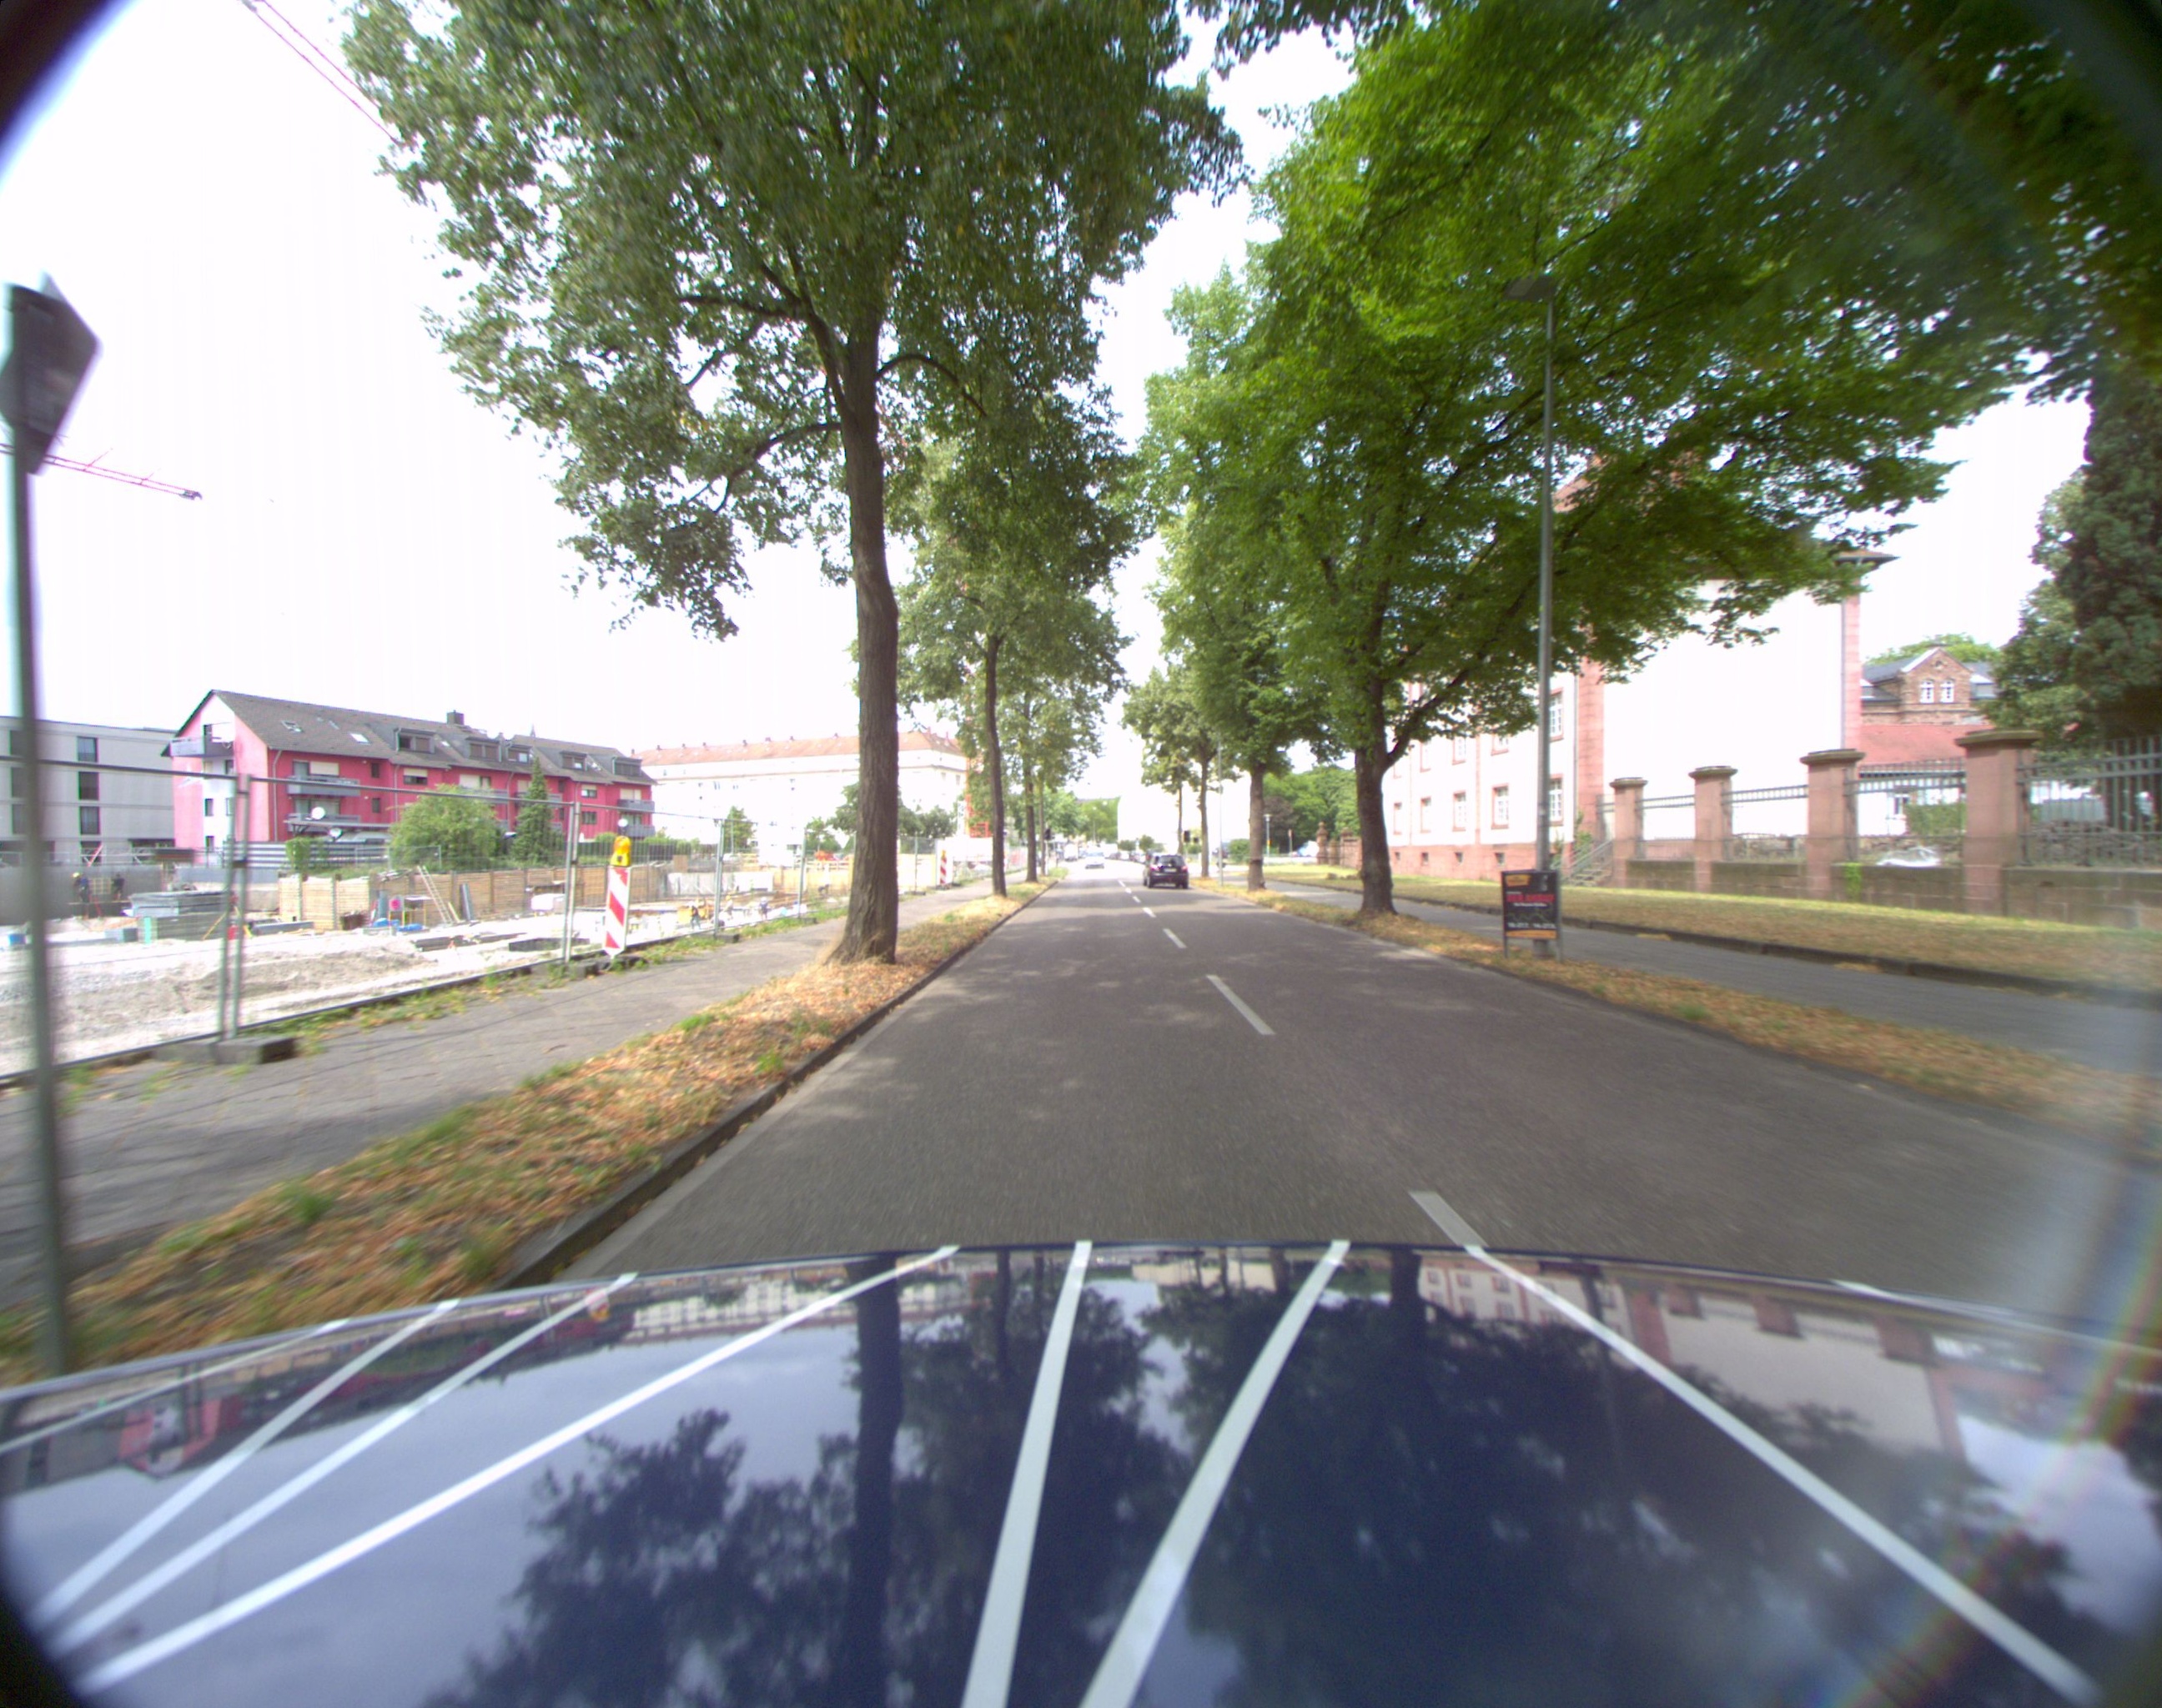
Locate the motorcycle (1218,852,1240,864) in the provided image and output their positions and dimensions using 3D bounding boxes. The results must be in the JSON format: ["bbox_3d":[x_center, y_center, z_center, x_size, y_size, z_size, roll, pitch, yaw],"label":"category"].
[{"bbox_3d":[15.241,0.398,78.168,2.095,1.135,0.725,1,1,5],"label":"motorcycle"}]

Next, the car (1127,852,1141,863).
[{"bbox_3d":[7.940,0.492,114.146,1.626,1.566,3.998,-1,1,-4],"label":"car"}]

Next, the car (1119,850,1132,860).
[{"bbox_3d":[7.340,0.106,124.919,1.791,1.554,4.550,-3,0,-1],"label":"car"}]

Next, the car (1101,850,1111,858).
[{"bbox_3d":[5.420,0.021,166.408,1.853,1.623,4.217,1,1,-2],"label":"car"}]

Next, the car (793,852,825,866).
[{"bbox_3d":[-36.219,0.648,101.413,1.796,1.580,3.924,-3,1,21],"label":"car"}]

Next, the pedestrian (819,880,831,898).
[{"bbox_3d":[-24.644,3.362,73.078,0.842,1.712,0.722,2,1,38],"label":"pedestrian"}]

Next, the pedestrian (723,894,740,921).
[{"bbox_3d":[-22.658,3.463,49.285,0.842,1.712,0.722,2,2,43],"label":"pedestrian"}]

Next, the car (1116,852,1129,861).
[{"bbox_3d":[7.178,0.434,130.690,1.722,1.615,3.838,-1,1,-4],"label":"car"}]

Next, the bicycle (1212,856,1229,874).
[{"bbox_3d":[9.179,0.718,50.031,0.724,1.089,2.151,-4,0,1],"label":"bicycle"}]

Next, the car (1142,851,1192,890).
[{"bbox_3d":[3.896,0.723,35.021,1.776,1.649,4.256,1,0,0],"label":"car"}]

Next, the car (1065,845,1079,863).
[{"bbox_3d":[-1.474,-0.018,120.919,1.900,2.587,4.903,-3,1,-2],"label":"car"}]

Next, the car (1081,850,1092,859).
[{"bbox_3d":[1.026,0.176,147.732,1.949,1.656,3.998,1,1,-2],"label":"car"}]

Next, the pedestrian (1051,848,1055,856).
[{"bbox_3d":[-5.925,-0.403,161.830,0.808,1.793,0.763,1,1,-2],"label":"pedestrian"}]

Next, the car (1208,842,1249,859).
[{"bbox_3d":[19.565,-0.435,100.789,5.097,2.137,2.229,0,0,3],"label":"car"}]

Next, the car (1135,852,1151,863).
[{"bbox_3d":[8.387,0.407,102.738,1.692,1.448,4.262,-1,0,-2],"label":"car"}]

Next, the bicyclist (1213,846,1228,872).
[{"bbox_3d":[9.150,0.310,49.925,0.724,1.646,0.958,-4,0,1],"label":"bicyclist"}]

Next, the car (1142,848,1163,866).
[{"bbox_3d":[8.595,0.373,91.602,1.953,1.992,4.843,-2,0,0],"label":"car"}]

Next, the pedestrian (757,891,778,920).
[{"bbox_3d":[-20.079,3.292,48.644,0.842,1.712,0.986,2,2,43],"label":"pedestrian"}]

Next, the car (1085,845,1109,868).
[{"bbox_3d":[1.452,0.225,71.008,1.999,2.002,3.998,1,1,-2],"label":"car"}]

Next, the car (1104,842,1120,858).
[{"bbox_3d":[6.216,-0.778,154.380,2.622,3.040,7.112,1,0,-2],"label":"car"}]

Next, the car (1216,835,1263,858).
[{"bbox_3d":[19.864,-0.946,95.331,5.323,2.537,2.355,-3,1,2],"label":"car"}]

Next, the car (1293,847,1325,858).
[{"bbox_3d":[32.328,-0.270,107.678,3.997,1.474,1.857,-1,1,0],"label":"car"}]

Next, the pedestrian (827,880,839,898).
[{"bbox_3d":[-24.051,3.390,73.740,0.842,1.712,0.722,2,1,38],"label":"pedestrian"}]

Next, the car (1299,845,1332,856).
[{"bbox_3d":[32.457,-0.476,105.082,3.997,1.474,1.970,-1,1,0],"label":"car"}]

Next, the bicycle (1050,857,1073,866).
[{"bbox_3d":[-2.039,0.757,79.768,2.473,0.927,0.716,-1,0,33],"label":"bicycle"}]

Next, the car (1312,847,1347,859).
[{"bbox_3d":[32.719,-0.133,100.144,4.166,1.474,1.616,-1,1,0],"label":"car"}]

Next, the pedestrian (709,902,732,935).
[{"bbox_3d":[-19.501,3.497,41.130,0.843,1.712,0.721,1,1,17],"label":"pedestrian"}]

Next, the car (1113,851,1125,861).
[{"bbox_3d":[6.827,0.342,138.198,1.722,1.615,3.838,-1,1,-4],"label":"car"}]

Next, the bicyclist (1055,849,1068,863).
[{"bbox_3d":[-2.013,0.187,79.737,1.078,1.404,0.716,-3,-1,33],"label":"bicyclist"}]

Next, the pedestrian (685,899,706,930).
[{"bbox_3d":[-22.436,3.513,44.212,0.718,1.712,0.846,2,1,35],"label":"pedestrian"}]
